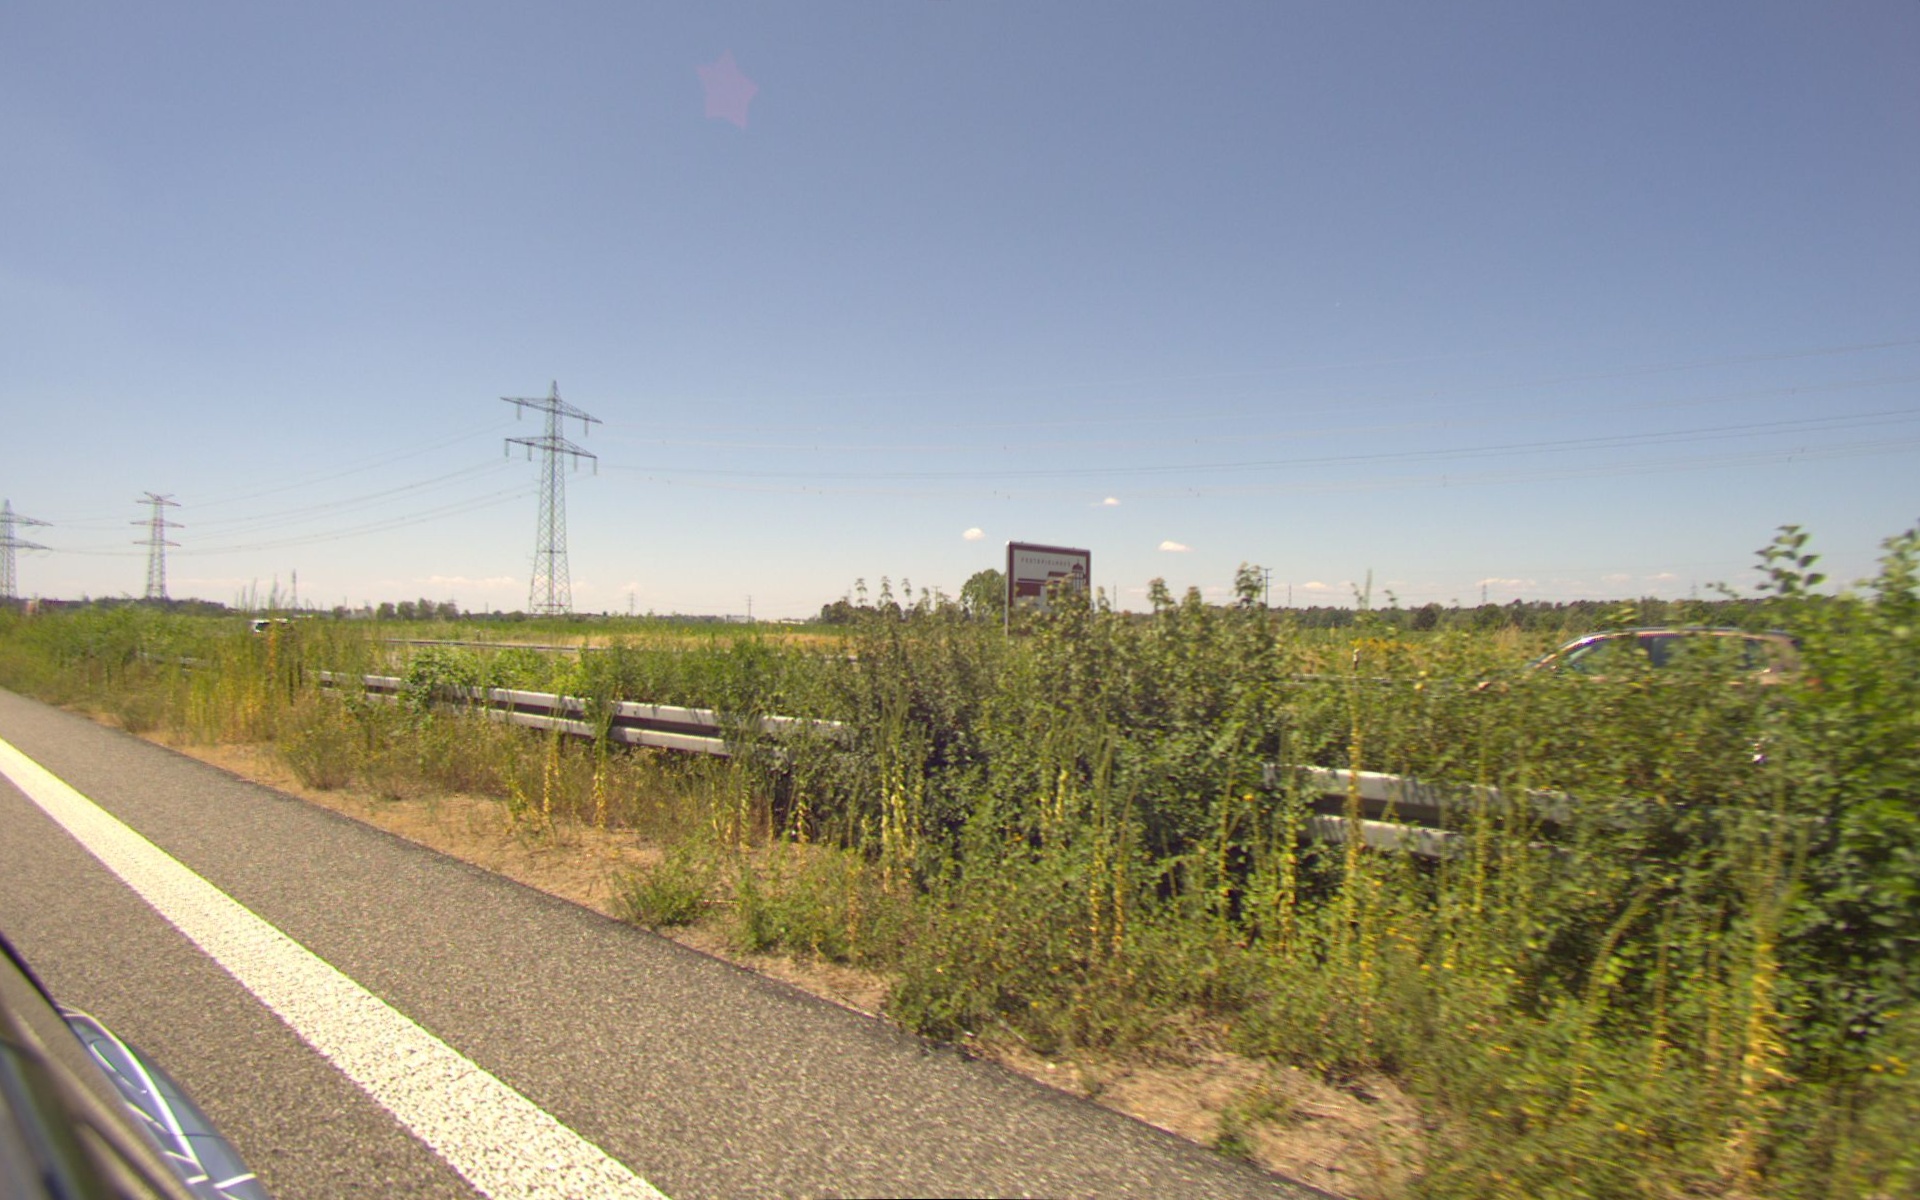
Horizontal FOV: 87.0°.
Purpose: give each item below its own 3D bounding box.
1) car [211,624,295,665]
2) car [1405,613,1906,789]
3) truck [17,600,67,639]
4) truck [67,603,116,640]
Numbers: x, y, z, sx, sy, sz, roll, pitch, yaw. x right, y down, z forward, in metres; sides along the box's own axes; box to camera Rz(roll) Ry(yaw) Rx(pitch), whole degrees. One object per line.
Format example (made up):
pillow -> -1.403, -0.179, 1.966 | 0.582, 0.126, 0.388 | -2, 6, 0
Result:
car -> -30.054, 1.842, 42.975 | 4.556, 1.667, 1.842 | -1, -2, 41
car -> 7.891, 1.007, 11.862 | 4.556, 1.667, 1.842 | -1, -1, 41
truck -> -100.858, 2.102, 111.153 | 9.649, 4.115, 3.171 | -1, -2, 43
truck -> -102.251, 2.497, 119.080 | 9.649, 4.115, 3.171 | -1, -2, 43
